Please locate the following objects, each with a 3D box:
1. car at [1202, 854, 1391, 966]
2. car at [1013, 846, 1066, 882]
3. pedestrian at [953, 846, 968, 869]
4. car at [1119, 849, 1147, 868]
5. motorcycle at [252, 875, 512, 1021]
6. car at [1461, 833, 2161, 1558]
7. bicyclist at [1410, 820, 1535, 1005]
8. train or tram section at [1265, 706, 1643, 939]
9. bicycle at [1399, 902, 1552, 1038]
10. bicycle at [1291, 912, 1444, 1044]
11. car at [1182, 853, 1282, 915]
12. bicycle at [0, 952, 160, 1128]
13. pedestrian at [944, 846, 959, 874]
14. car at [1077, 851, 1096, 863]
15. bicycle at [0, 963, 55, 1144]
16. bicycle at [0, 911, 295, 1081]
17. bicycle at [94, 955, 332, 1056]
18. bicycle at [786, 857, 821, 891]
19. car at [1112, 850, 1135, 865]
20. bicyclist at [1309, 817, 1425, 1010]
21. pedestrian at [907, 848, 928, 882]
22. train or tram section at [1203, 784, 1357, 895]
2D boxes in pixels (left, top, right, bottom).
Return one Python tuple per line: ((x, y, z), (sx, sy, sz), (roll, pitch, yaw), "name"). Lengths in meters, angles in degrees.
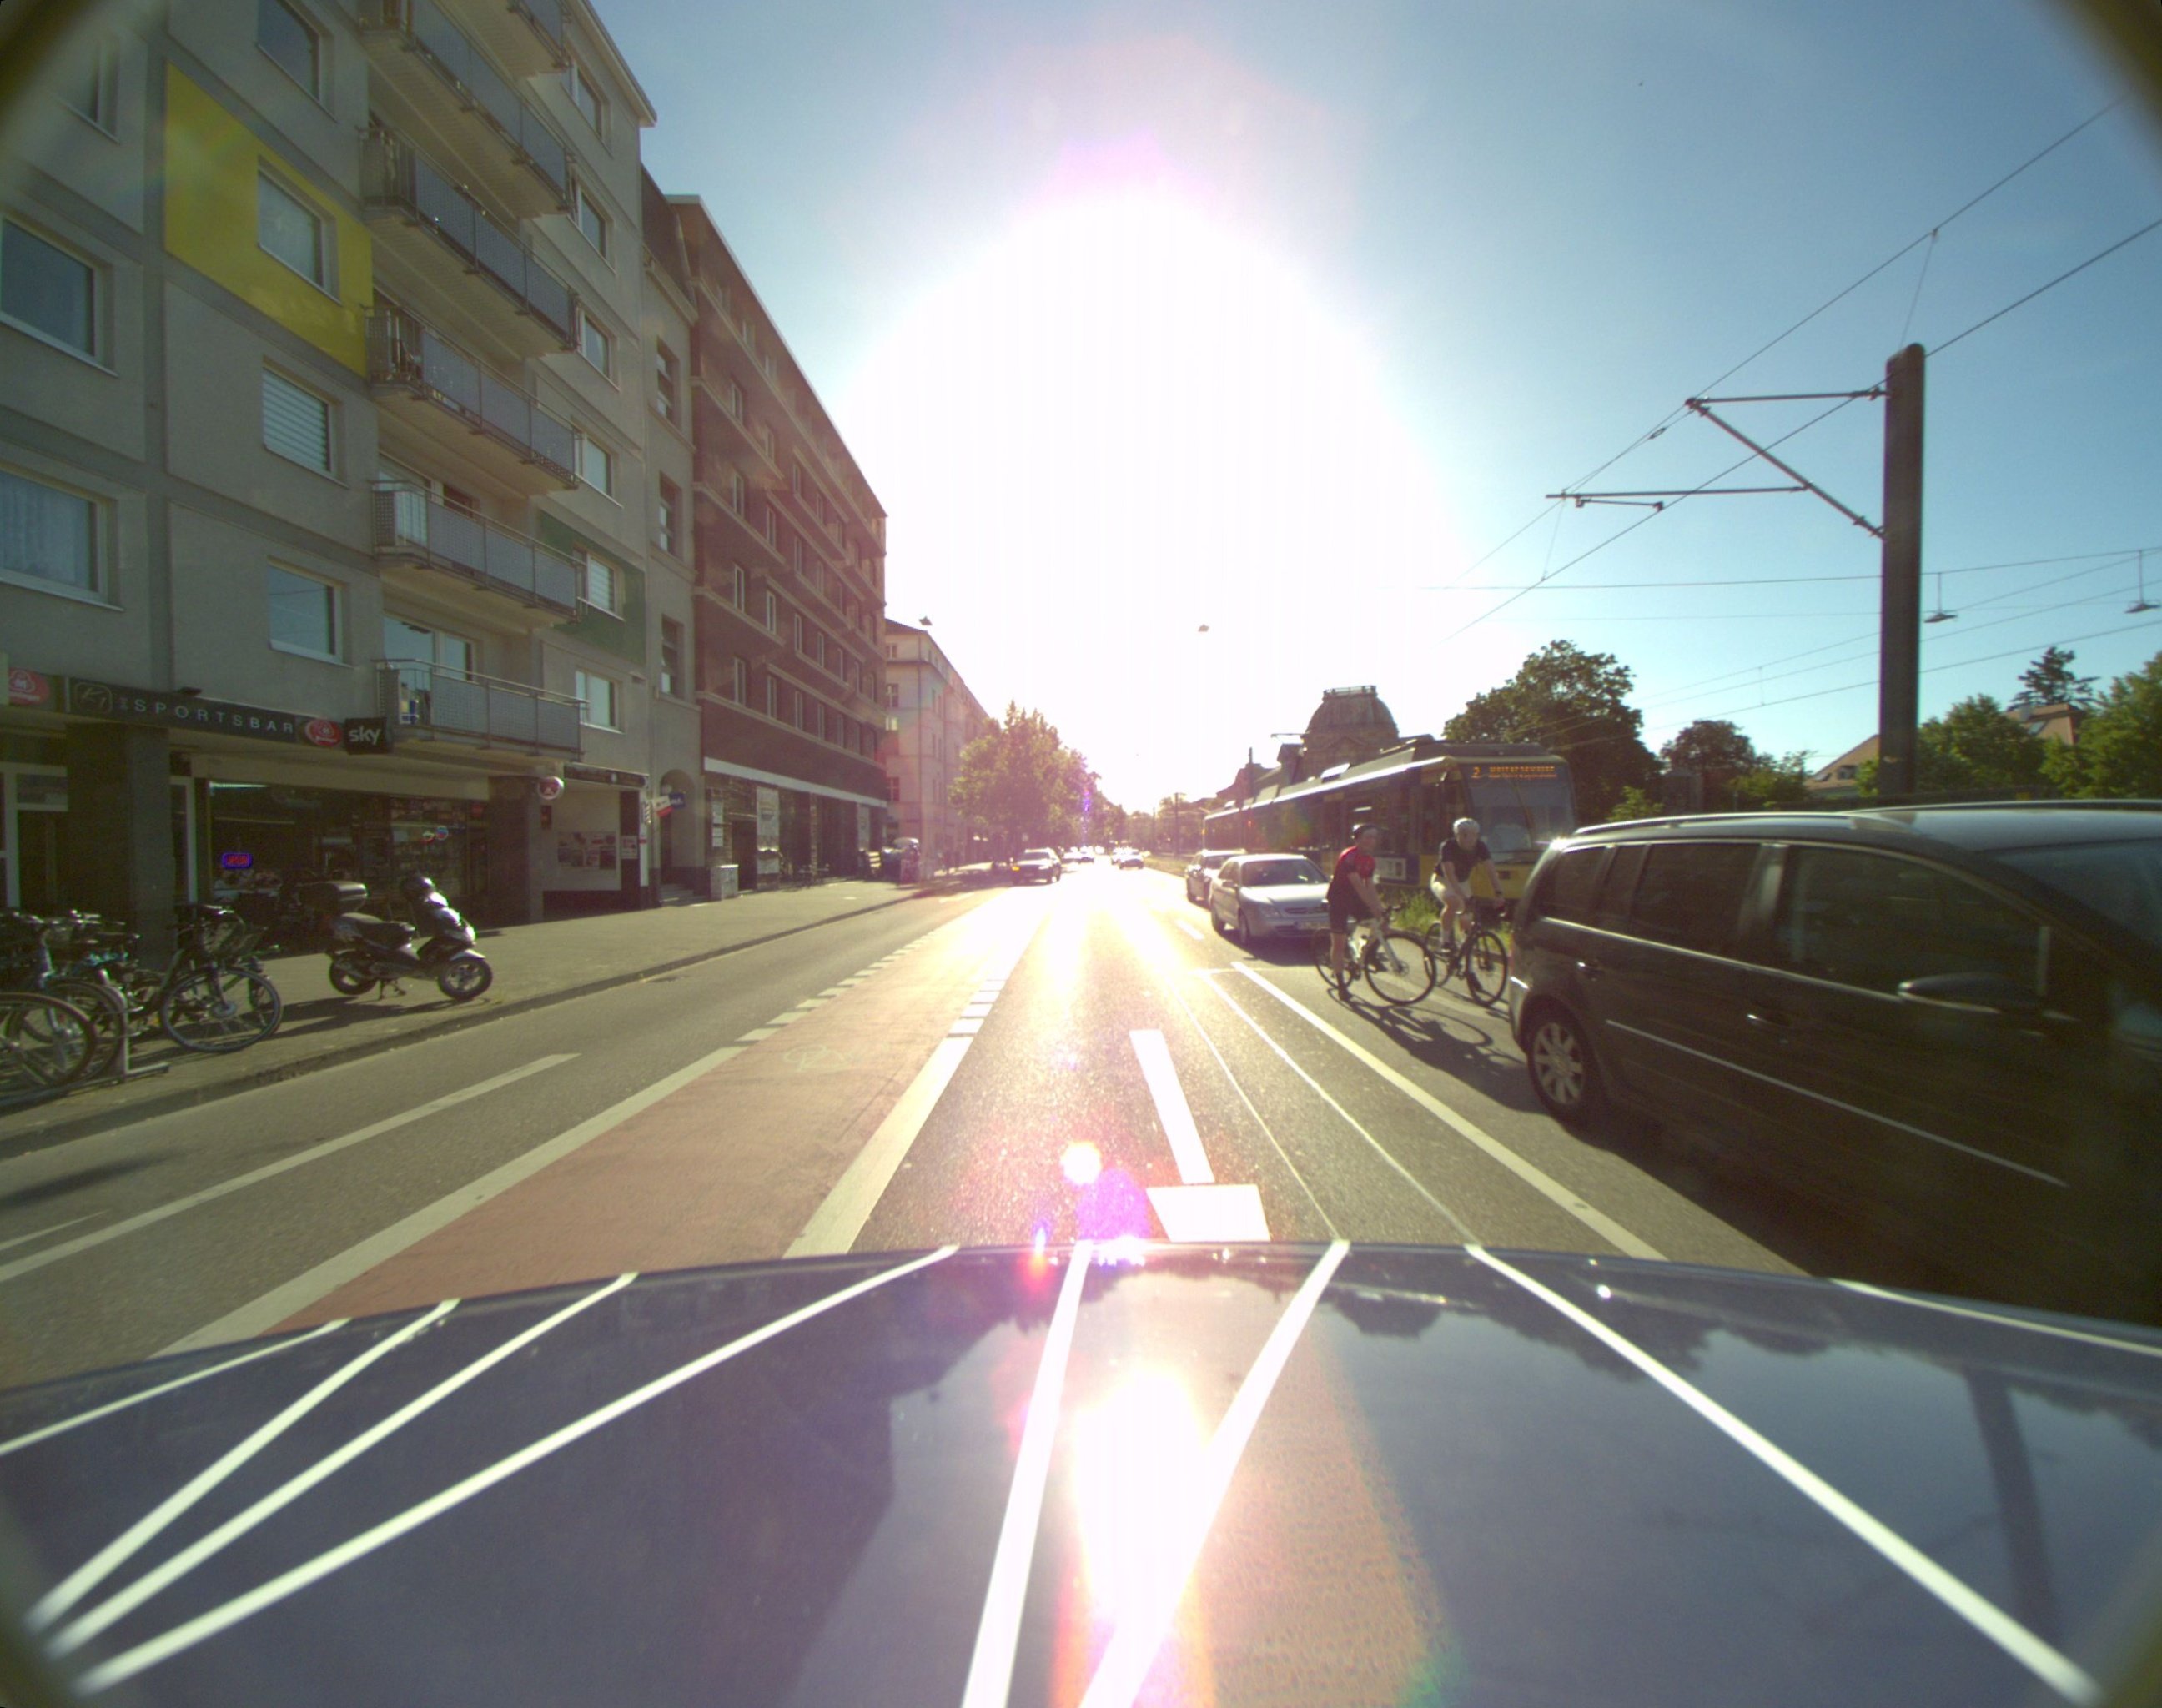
((3.395, 0.799, 12.861), (1.998, 1.421, 4.131), (-2, 1, 0), "car")
((-2.014, 0.457, 37.911), (1.900, 1.677, 4.120), (-1, 1, 7), "car")
((-8.799, 0.278, 55.441), (0.868, 1.639, 0.981), (-1, 1, -22), "pedestrian")
((3.939, 0.313, 57.674), (1.858, 1.284, 4.095), (-1, 1, 0), "car")
((-7.365, 0.970, 8.101), (1.884, 1.421, 0.888), (1, 1, -4), "motorcycle")
((3.364, 0.734, 2.537), (1.998, 1.528, 4.355), (-2, 1, 0), "car")
((3.736, 0.522, 7.320), (0.694, 1.650, 0.919), (-2, 2, 0), "bicyclist")
((7.598, -0.533, 18.797), (2.956, 3.664, 13.183), (-1, 0, 1), "train or tram section")
((3.753, 1.049, 7.399), (0.538, 0.992, 1.815), (-2, 1, 0), "bicycle")
((2.732, 1.137, 7.491), (0.631, 0.934, 1.905), (-3, 1, -5), "bicycle")
((4.012, 0.742, 20.841), (1.891, 1.421, 4.132), (-2, 1, 0), "car")
((-7.301, 1.212, 4.995), (1.823, 1.054, 0.415), (0, 2, -4), "bicycle")
((-8.722, 0.412, 51.110), (0.867, 1.873, 1.221), (-1, 1, -16), "pedestrian")
((0.640, 0.329, 82.894), (1.986, 1.284, 4.393), (-1, 1, 0), "car")
((-7.414, 1.223, 4.541), (1.823, 1.054, 0.415), (0, 2, -3), "bicycle")
((-7.520, 1.078, 5.972), (1.823, 1.167, 0.703), (-1, 1, -4), "bicycle")
((-7.534, 1.304, 6.640), (1.348, 0.760, 0.571), (1, 1, -4), "bicycle")
((-10.636, 0.750, 29.188), (0.598, 1.235, 1.932), (-1, 1, 0), "bicycle")
((4.085, 0.319, 73.815), (1.986, 1.284, 4.326), (-1, 1, 0), "car")
((2.722, 0.528, 7.304), (0.704, 1.720, 0.853), (-3, 2, -5), "bicyclist")
((-7.940, 0.518, 36.949), (0.772, 1.641, 0.672), (-1, 1, 12), "pedestrian")
((7.673, -0.527, 31.885), (2.956, 3.591, 13.634), (-1, 0, 1), "train or tram section")
